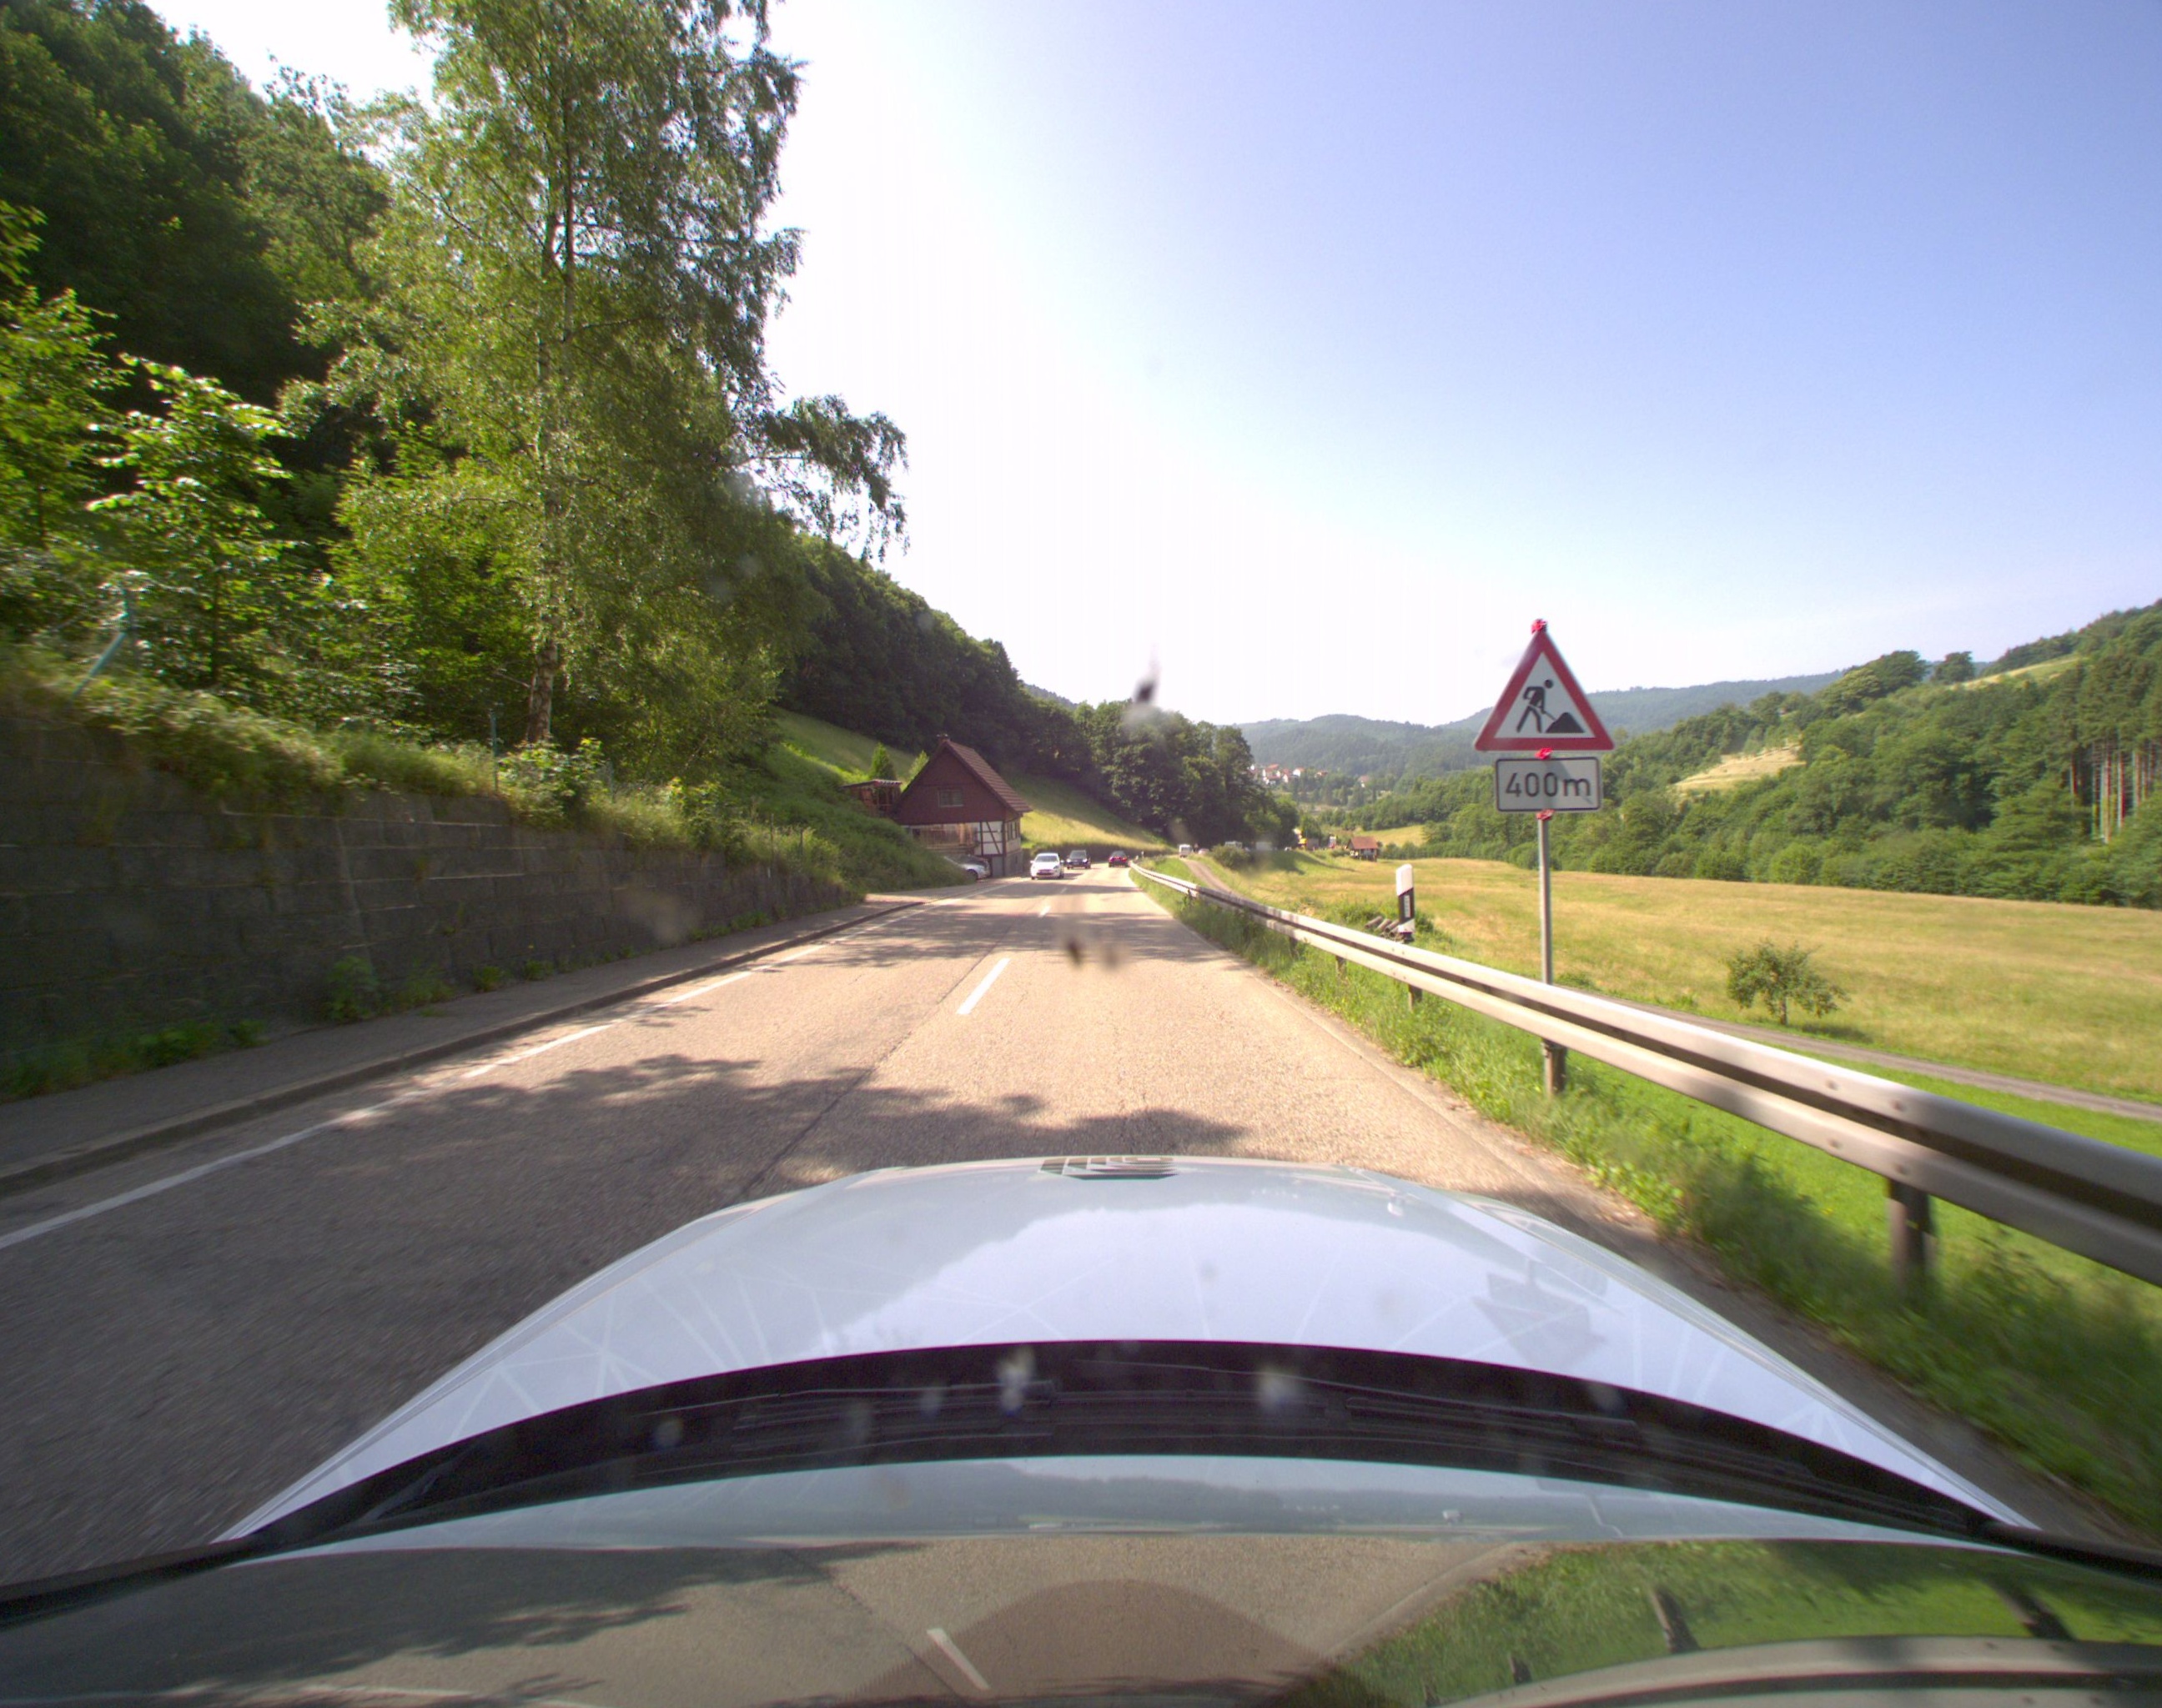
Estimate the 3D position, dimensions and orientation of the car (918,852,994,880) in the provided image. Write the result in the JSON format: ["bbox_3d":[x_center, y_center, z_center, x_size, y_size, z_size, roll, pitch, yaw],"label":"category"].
[{"bbox_3d":[-6.951,0.671,45.520,3.798,1.432,1.866,-1,1,4],"label":"car"}]

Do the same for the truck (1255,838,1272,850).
[{"bbox_3d":[44.667,-2.317,198.759,2.216,2.804,6.270,1,0,30],"label":"truck"}]

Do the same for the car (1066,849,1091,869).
[{"bbox_3d":[-0.185,0.412,71.337,1.881,1.645,4.261,-1,0,3],"label":"car"}]

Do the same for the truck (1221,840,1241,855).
[{"bbox_3d":[33.125,-1.503,179.455,2.767,2.997,6.905,3,2,22],"label":"truck"}]

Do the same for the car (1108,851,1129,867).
[{"bbox_3d":[3.514,0.468,76.062,1.762,1.335,3.774,0,2,6],"label":"car"}]

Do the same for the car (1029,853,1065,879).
[{"bbox_3d":[-1.918,0.679,46.904,1.771,1.437,4.001,-2,-1,1],"label":"car"}]

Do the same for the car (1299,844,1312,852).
[{"bbox_3d":[62.499,-1.547,226.665,1.975,1.925,4.024,4,0,33],"label":"car"}]

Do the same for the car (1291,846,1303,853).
[{"bbox_3d":[58.059,-1.232,218.708,1.889,1.485,4.025,6,2,33],"label":"car"}]

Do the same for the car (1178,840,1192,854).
[{"bbox_3d":[17.956,-1.231,140.240,1.981,2.352,4.930,1,2,11],"label":"car"}]

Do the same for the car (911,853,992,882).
[{"bbox_3d":[-6.726,0.705,42.622,3.798,1.416,1.860,-1,1,4],"label":"car"}]

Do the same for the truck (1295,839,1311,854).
[{"bbox_3d":[67.019,-2.207,245.922,3.158,4.396,6.613,2,2,30],"label":"truck"}]

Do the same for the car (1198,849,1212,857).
[{"bbox_3d":[24.393,-0.227,160.165,1.977,1.484,4.022,3,3,22],"label":"car"}]
